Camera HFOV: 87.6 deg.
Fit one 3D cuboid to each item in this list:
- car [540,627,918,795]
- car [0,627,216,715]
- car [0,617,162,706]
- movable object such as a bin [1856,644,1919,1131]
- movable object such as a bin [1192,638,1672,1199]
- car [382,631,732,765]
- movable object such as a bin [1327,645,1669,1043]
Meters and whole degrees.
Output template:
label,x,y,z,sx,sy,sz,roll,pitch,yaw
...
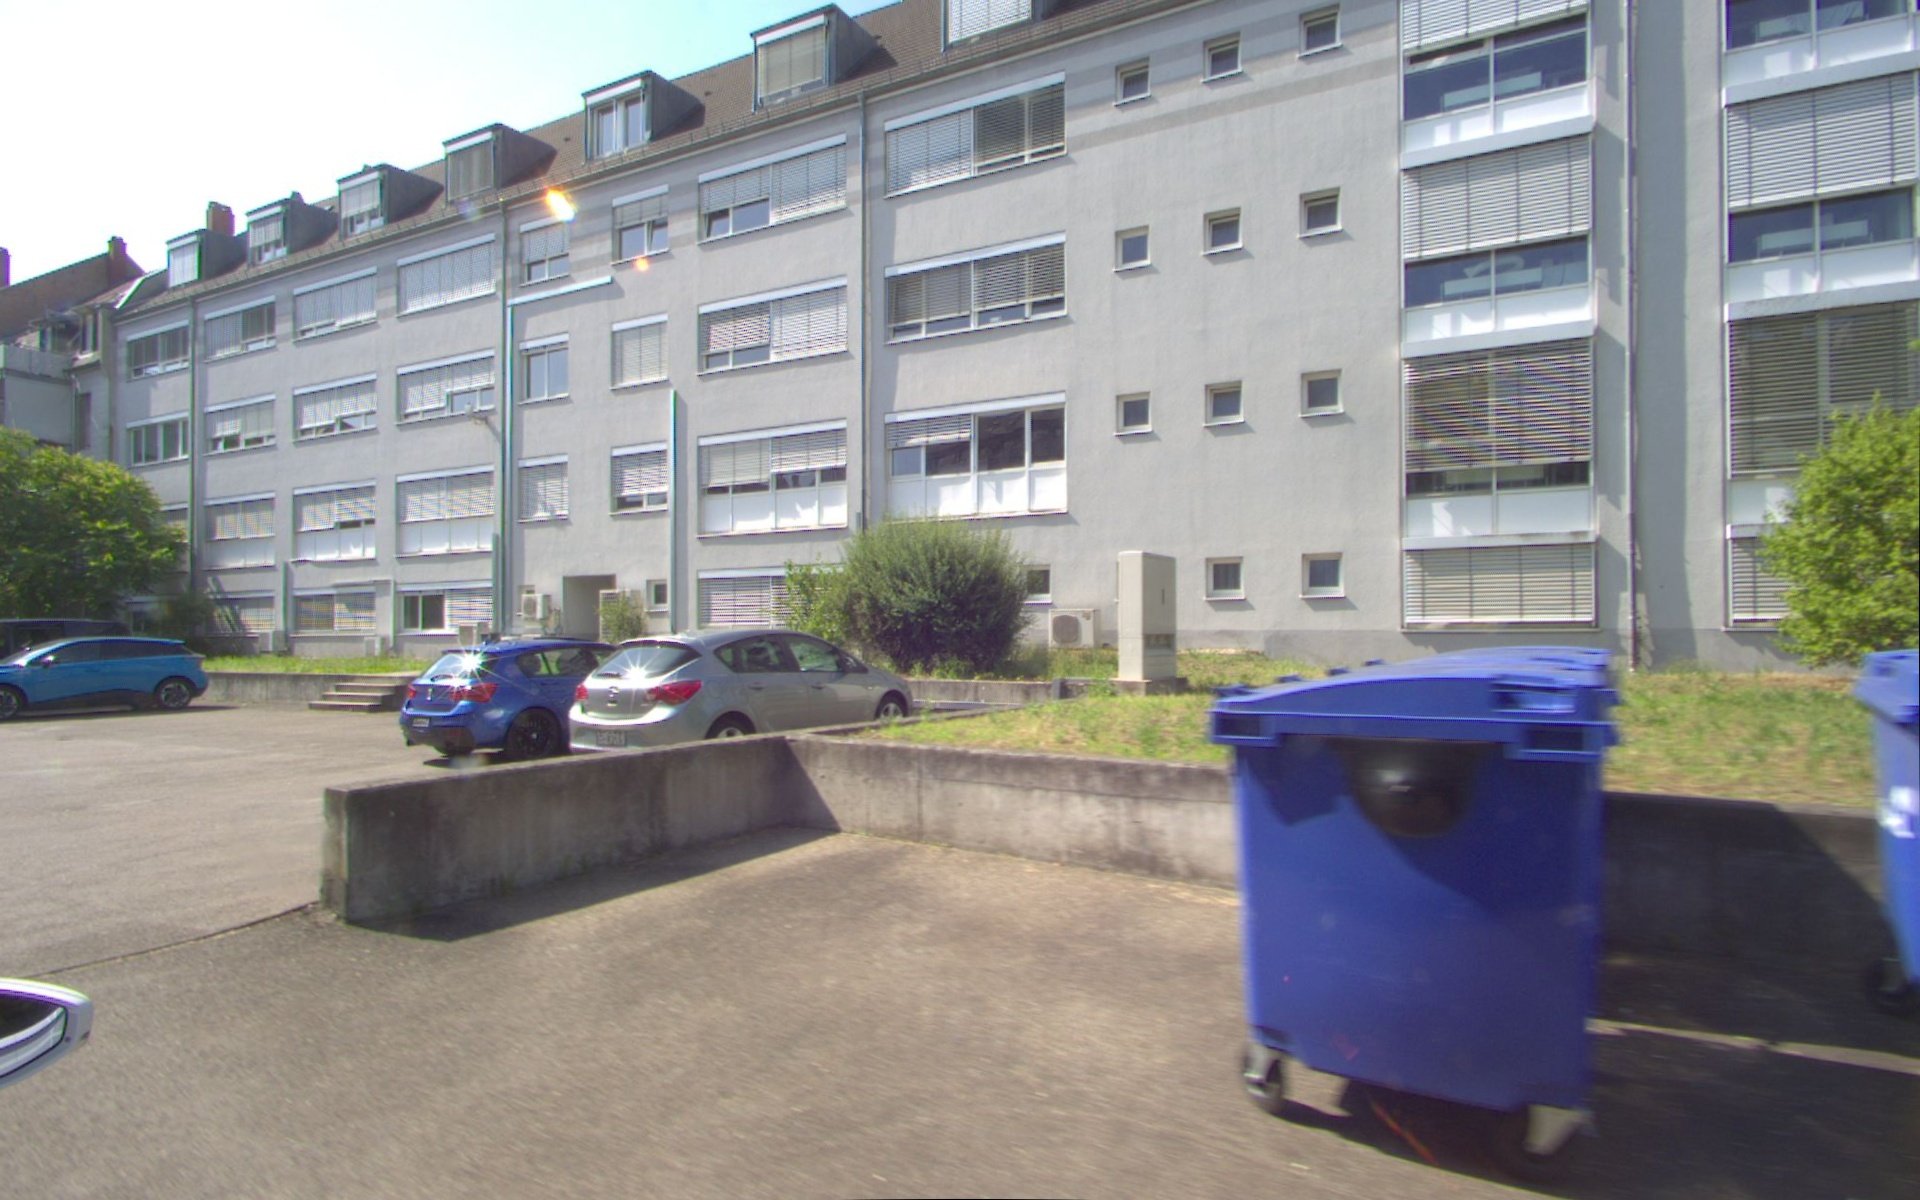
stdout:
label,x,y,z,sx,sy,sz,roll,pitch,yaw
car,-2.292,1.037,10.948,1.785,1.445,3.981,-1,-1,31
car,-17.647,1.336,19.865,1.970,1.552,4.223,0,-1,30
car,-20.462,1.280,21.424,2.060,1.791,4.957,0,-1,21
movable object such as a bin,3.492,0.821,2.955,1.127,1.358,1.243,-1,-1,36
movable object such as a bin,1.458,0.814,3.114,1.112,1.373,1.245,-1,-1,31
car,-4.997,1.126,12.927,1.665,1.412,3.978,-1,-1,33
movable object such as a bin,2.265,0.882,4.269,1.125,1.353,1.154,-1,-1,31
